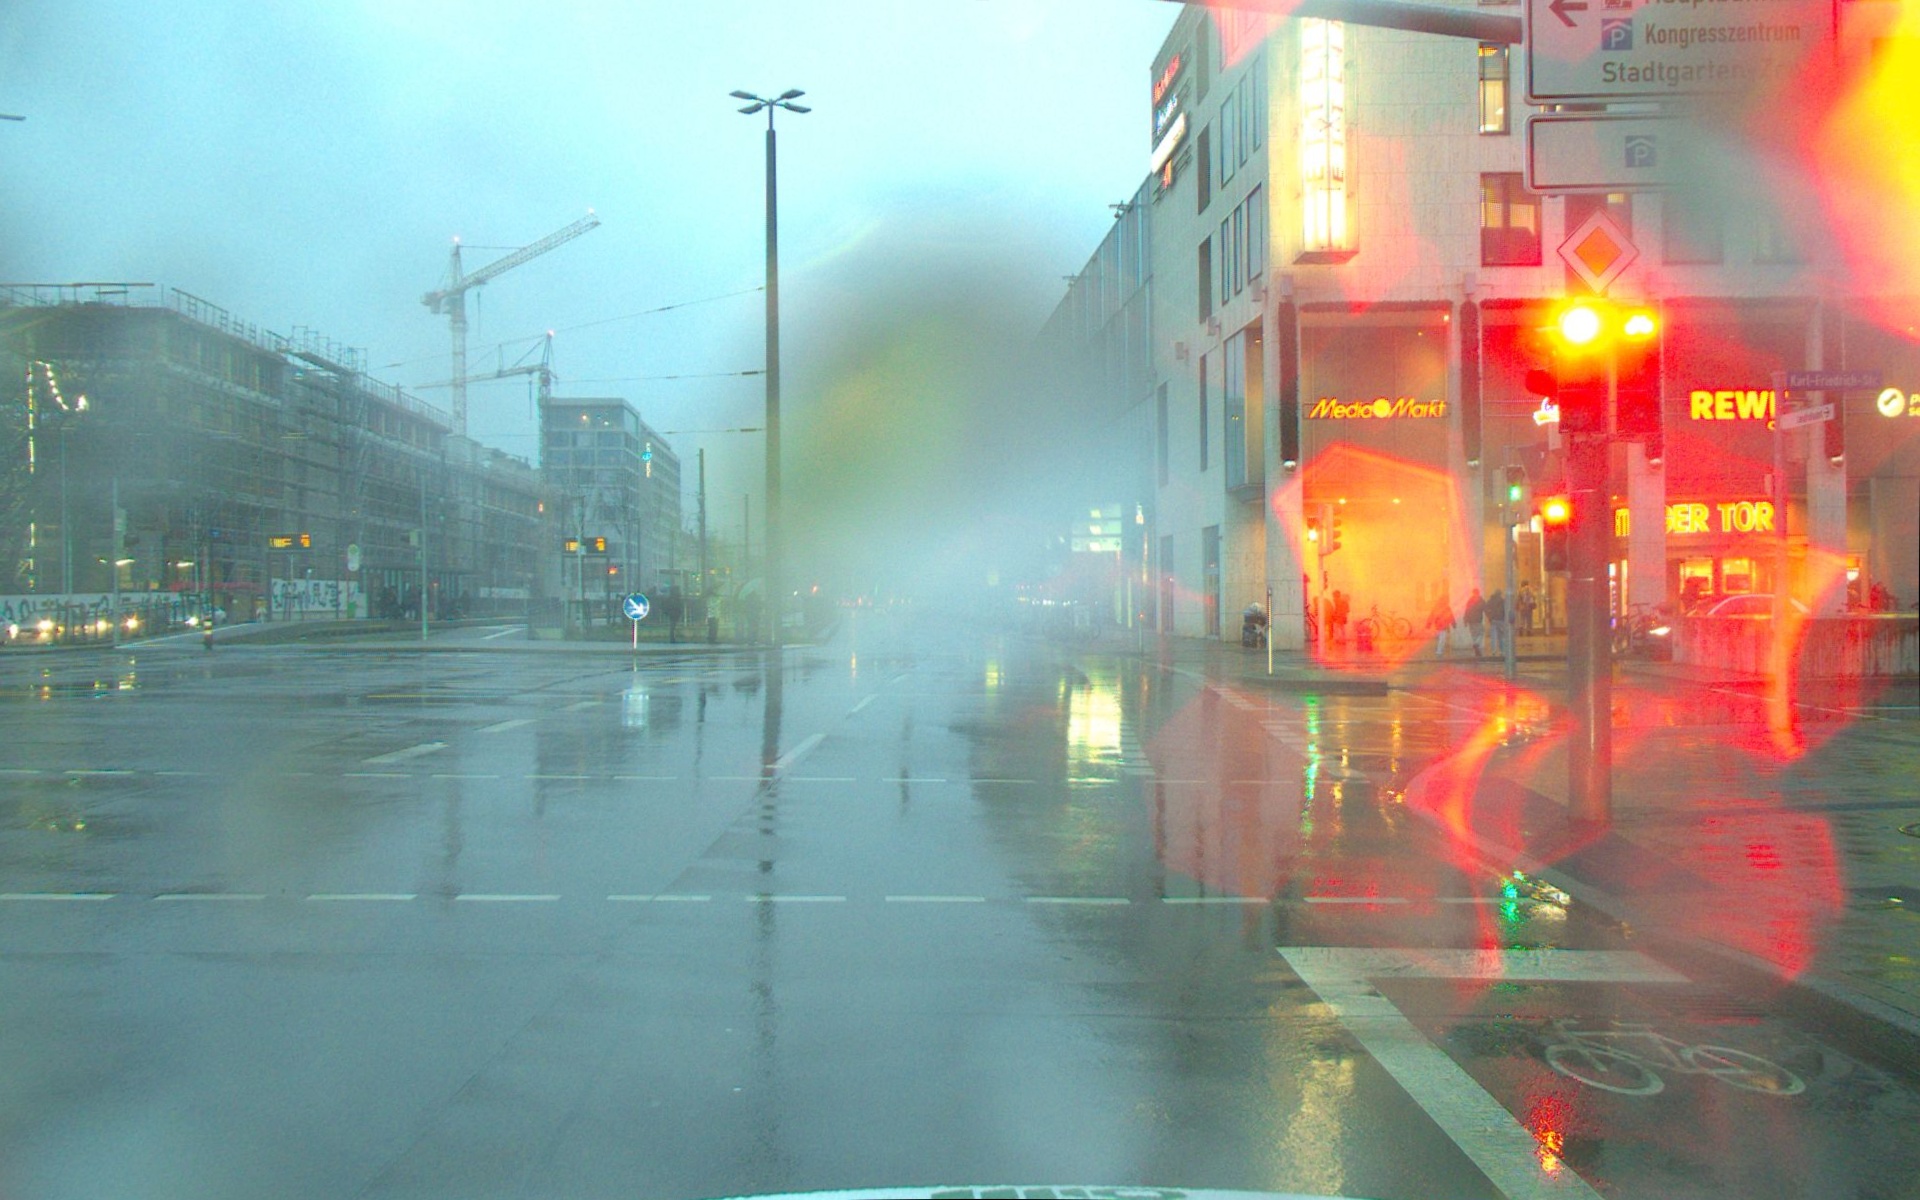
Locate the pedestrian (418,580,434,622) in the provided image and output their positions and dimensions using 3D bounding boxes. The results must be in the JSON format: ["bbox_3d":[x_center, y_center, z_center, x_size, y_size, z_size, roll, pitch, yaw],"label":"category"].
[{"bbox_3d":[-25.948,0.046,80.406,0.559,2.002,0.664,2,-1,-7],"label":"pedestrian"}]

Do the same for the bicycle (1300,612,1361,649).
[{"bbox_3d":[11.380,0.930,50.803,1.733,1.088,0.524,1,-1,-6],"label":"bicycle"}]

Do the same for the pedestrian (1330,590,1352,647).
[{"bbox_3d":[11.274,0.546,48.936,0.476,1.692,0.457,-1,-1,30],"label":"pedestrian"}]

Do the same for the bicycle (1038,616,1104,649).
[{"bbox_3d":[4.128,1.197,61.587,2.393,1.174,0.674,-1,-1,-2],"label":"bicycle"}]

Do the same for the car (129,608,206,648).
[{"bbox_3d":[-38.194,1.332,79.783,1.954,1.822,3.997,1,0,-4],"label":"car"}]

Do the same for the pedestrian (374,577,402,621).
[{"bbox_3d":[-26.922,-0.037,77.909,0.923,2.049,1.094,1,-1,-2],"label":"pedestrian"}]

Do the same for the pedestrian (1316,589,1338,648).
[{"bbox_3d":[11.161,0.553,50.286,0.587,1.775,0.525,1,-1,7],"label":"pedestrian"}]

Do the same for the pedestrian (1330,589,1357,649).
[{"bbox_3d":[11.354,0.561,49.001,0.624,1.739,0.573,-1,0,-2],"label":"pedestrian"}]

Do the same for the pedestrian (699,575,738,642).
[{"bbox_3d":[-6.778,0.233,46.385,0.813,1.863,0.777,1,-1,-31],"label":"pedestrian"}]

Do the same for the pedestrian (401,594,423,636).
[{"bbox_3d":[-25.806,0.708,77.862,0.750,1.931,0.762,1,-2,-1],"label":"pedestrian"}]

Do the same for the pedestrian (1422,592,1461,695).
[{"bbox_3d":[11.751,1.047,40.402,0.700,2.484,0.758,1,-1,-1],"label":"pedestrian"}]

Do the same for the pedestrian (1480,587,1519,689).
[{"bbox_3d":[13.330,0.927,40.866,0.679,2.491,0.791,1,-1,-1],"label":"pedestrian"}]

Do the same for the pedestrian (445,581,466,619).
[{"bbox_3d":[-27.761,0.003,91.037,0.924,2.049,1.092,1,-1,-8],"label":"pedestrian"}]

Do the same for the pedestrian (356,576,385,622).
[{"bbox_3d":[-26.886,-0.047,75.445,0.923,2.049,1.093,1,-1,-4],"label":"pedestrian"}]

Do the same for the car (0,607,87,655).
[{"bbox_3d":[-37.149,1.224,66.983,1.830,1.860,3.993,1,0,-8],"label":"car"}]

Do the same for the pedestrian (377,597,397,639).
[{"bbox_3d":[-26.523,0.832,76.547,0.684,1.913,0.553,1,-1,-2],"label":"pedestrian"}]

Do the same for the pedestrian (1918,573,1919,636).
[{"bbox_3d":[26.671,0.132,44.771,1.009,1.713,0.824,1,-1,-1],"label":"pedestrian"}]

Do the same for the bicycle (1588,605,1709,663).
[{"bbox_3d":[17.197,0.839,41.343,2.659,1.383,0.957,-1,-1,-4],"label":"bicycle"}]

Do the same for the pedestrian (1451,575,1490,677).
[{"bbox_3d":[12.530,0.634,40.610,0.675,2.484,0.758,1,-1,-1],"label":"pedestrian"}]

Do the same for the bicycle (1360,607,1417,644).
[{"bbox_3d":[13.196,0.780,50.995,1.614,1.088,0.524,1,-1,-5],"label":"bicycle"}]

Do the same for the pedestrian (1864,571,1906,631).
[{"bbox_3d":[26.866,0.029,48.033,0.875,1.714,0.528,-1,-1,-1],"label":"pedestrian"}]

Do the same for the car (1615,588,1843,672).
[{"bbox_3d":[16.233,0.623,35.069,3.905,1.646,2.000,1,0,0],"label":"car"}]

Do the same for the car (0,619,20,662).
[{"bbox_3d":[-36.412,1.511,60.525,2.038,1.557,4.604,-1,0,-10],"label":"car"}]

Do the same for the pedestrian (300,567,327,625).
[{"bbox_3d":[-26.705,-0.140,68.341,0.750,2.364,0.762,1,-2,-1],"label":"pedestrian"}]

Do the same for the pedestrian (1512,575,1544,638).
[{"bbox_3d":[18.586,0.214,54.138,0.828,2.049,0.698,-1,0,8],"label":"pedestrian"}]

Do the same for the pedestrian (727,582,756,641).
[{"bbox_3d":[-6.318,0.331,47.837,0.601,1.715,0.575,0,-1,41],"label":"pedestrian"}]

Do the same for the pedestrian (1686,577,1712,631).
[{"bbox_3d":[24.139,0.133,54.034,0.721,1.748,0.738,-1,-1,27],"label":"pedestrian"}]

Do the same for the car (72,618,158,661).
[{"bbox_3d":[-37.876,1.732,74.236,1.954,1.822,3.997,1,0,-4],"label":"car"}]

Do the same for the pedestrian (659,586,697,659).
[{"bbox_3d":[-8.065,0.639,47.227,0.771,2.049,0.724,0,-1,41],"label":"pedestrian"}]
